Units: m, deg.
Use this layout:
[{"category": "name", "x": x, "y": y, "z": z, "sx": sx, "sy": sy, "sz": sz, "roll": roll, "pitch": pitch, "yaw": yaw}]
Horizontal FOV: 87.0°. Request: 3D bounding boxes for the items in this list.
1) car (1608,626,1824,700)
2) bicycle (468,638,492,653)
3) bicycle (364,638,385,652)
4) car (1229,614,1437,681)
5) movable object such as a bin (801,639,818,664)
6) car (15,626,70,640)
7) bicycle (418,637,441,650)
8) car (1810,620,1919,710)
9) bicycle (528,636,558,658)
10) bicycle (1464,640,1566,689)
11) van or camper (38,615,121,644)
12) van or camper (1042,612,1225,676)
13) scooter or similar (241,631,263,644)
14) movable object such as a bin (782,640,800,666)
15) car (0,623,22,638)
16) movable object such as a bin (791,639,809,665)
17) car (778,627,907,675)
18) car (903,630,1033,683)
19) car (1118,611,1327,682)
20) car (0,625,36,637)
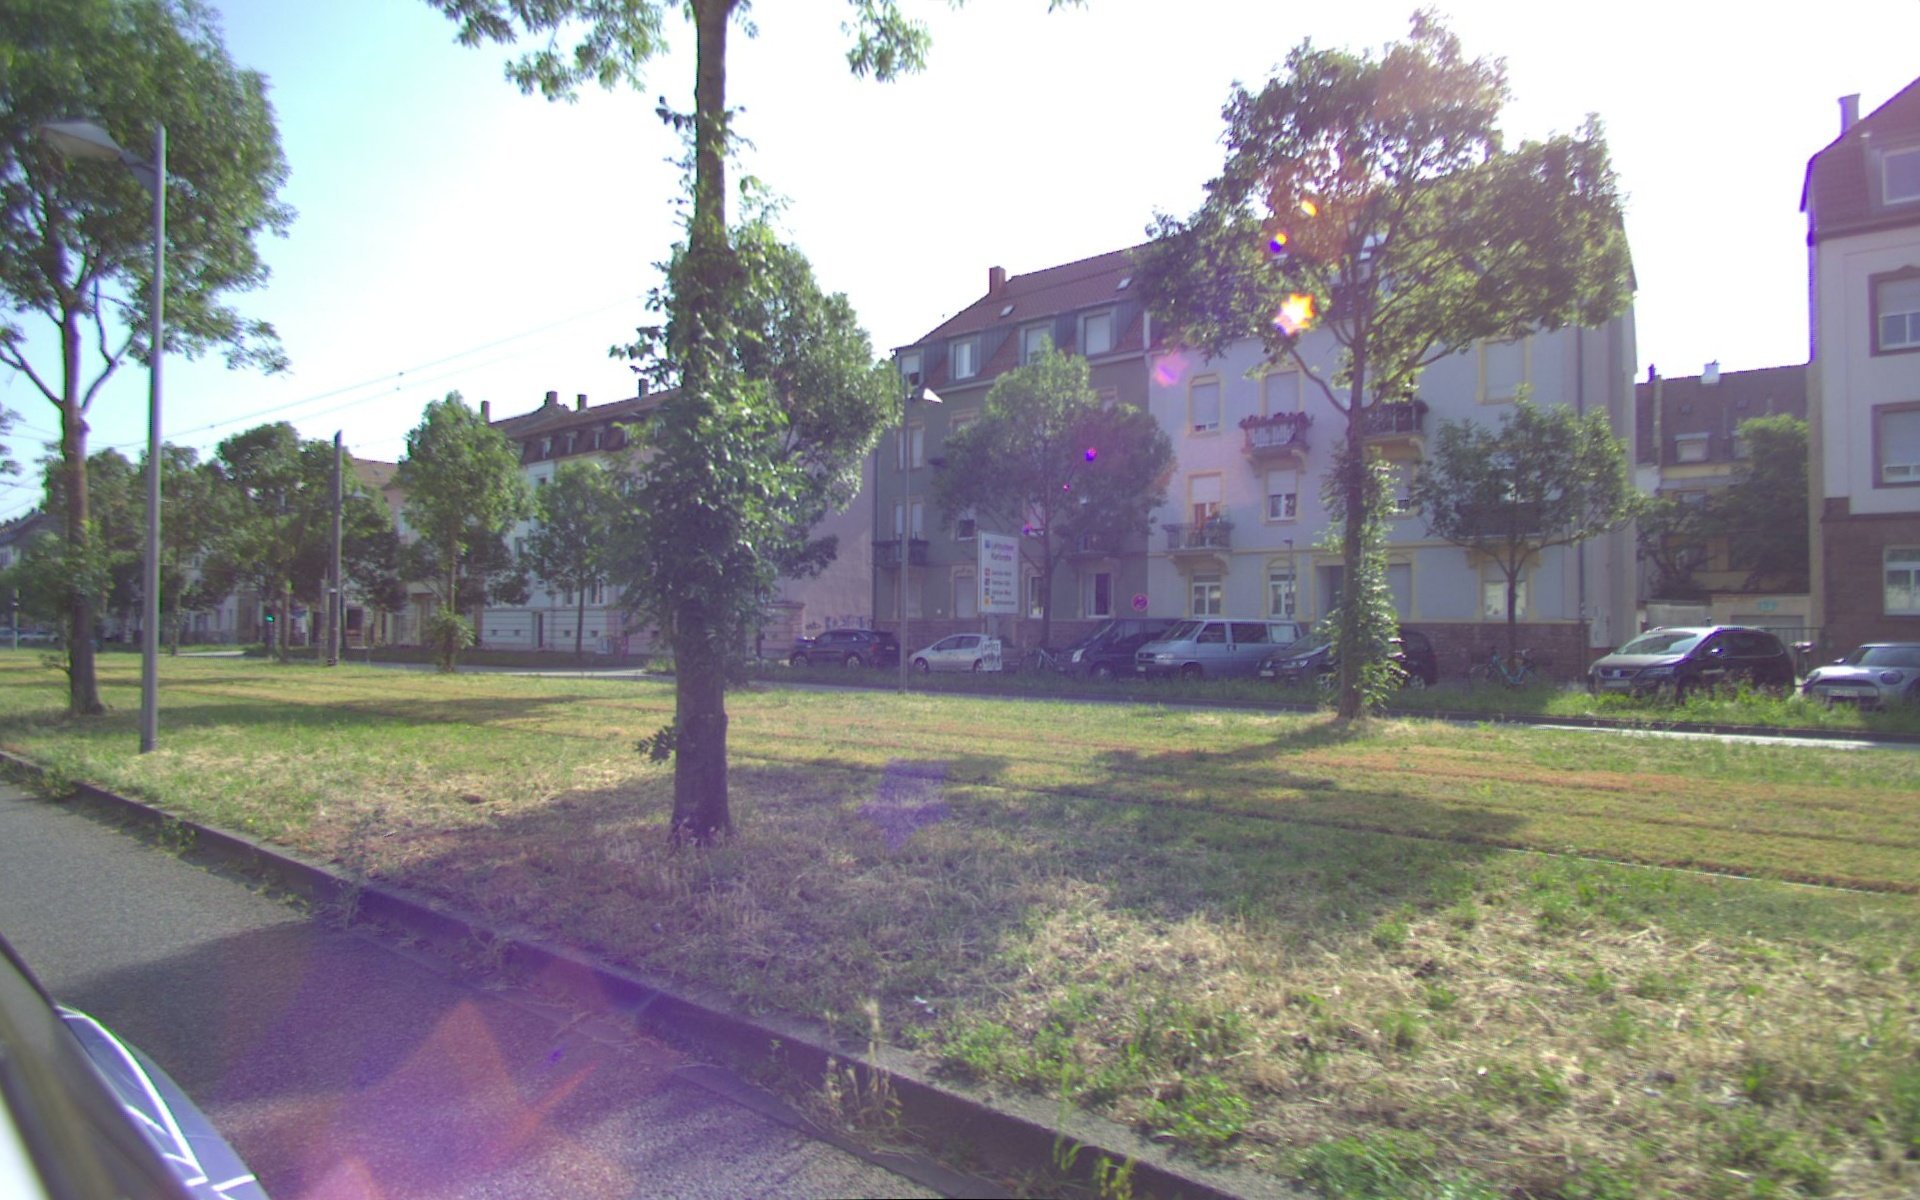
[{"category": "car", "x": 15.454, "y": 1.236, "z": 20.708, "sx": 3.931, "sy": 1.278, "sz": 1.644, "roll": -1, "pitch": 0, "yaw": -20}, {"category": "bicycle", "x": -28.761, "y": 2.721, "z": 60.634, "sx": 1.944, "sy": 0.863, "sz": 0.443, "roll": -1, "pitch": 0, "yaw": 36}, {"category": "bicycle", "x": -40.012, "y": 3.089, "z": 69.159, "sx": 1.944, "sy": 0.895, "sz": 0.463, "roll": -1, "pitch": 0, "yaw": 36}, {"category": "car", "x": 9.055, "y": 1.109, "z": 24.652, "sx": 4.401, "sy": 1.430, "sz": 1.981, "roll": -1, "pitch": 0, "yaw": -15}, {"category": "movable object such as a bin", "x": -7.632, "y": 2.622, "z": 51.392, "sx": 0.639, "sy": 1.220, "sz": 0.580, "roll": -1, "pitch": 0, "yaw": 36}, {"category": "car", "x": -97.538, "y": 3.482, "z": 107.619, "sx": 3.946, "sy": 1.326, "sz": 1.667, "roll": -1, "pitch": 0, "yaw": -18}, {"category": "bicycle", "x": -33.858, "y": 2.750, "z": 64.581, "sx": 1.944, "sy": 0.795, "sz": 0.433, "roll": -1, "pitch": 0, "yaw": 36}, {"category": "car", "x": 17.858, "y": 1.127, "z": 18.579, "sx": 3.931, "sy": 1.427, "sz": 1.582, "roll": -1, "pitch": 0, "yaw": -18}, {"category": "bicycle", "x": -23.196, "y": 2.587, "z": 56.235, "sx": 1.944, "sy": 1.136, "sz": 0.598, "roll": -1, "pitch": 0, "yaw": 36}, {"category": "bicycle", "x": 12.713, "y": 1.469, "z": 23.235, "sx": 1.990, "sy": 1.057, "sz": 0.463, "roll": -1, "pitch": 0, "yaw": 24}, {"category": "van or camper", "x": -86.911, "y": 2.893, "z": 99.996, "sx": 5.824, "sy": 2.593, "sz": 2.206, "roll": -1, "pitch": 0, "yaw": -18}, {"category": "van or camper", "x": 4.969, "y": 1.203, "z": 29.072, "sx": 4.766, "sy": 1.635, "sz": 2.009, "roll": -1, "pitch": 0, "yaw": -20}, {"category": "scooter or similar", "x": -59.058, "y": 3.151, "z": 84.378, "sx": 1.475, "sy": 1.077, "sz": 0.738, "roll": -1, "pitch": 0, "yaw": 16}, {"category": "movable object such as a bin", "x": -8.405, "y": 2.641, "z": 50.334, "sx": 0.639, "sy": 1.220, "sz": 0.580, "roll": -1, "pitch": 0, "yaw": 36}, {"category": "car", "x": -118.381, "y": 3.784, "z": 123.838, "sx": 4.867, "sy": 1.739, "sz": 1.863, "roll": -1, "pitch": 0, "yaw": -18}, {"category": "movable object such as a bin", "x": -8.032, "y": 2.604, "z": 50.848, "sx": 0.639, "sy": 1.220, "sz": 0.580, "roll": -1, "pitch": 0, "yaw": 36}, {"category": "car", "x": -4.476, "y": 1.874, "z": 38.298, "sx": 4.765, "sy": 1.641, "sz": 1.976, "roll": -1, "pitch": 0, "yaw": 36}, {"category": "car", "x": 0.250, "y": 1.872, "z": 34.520, "sx": 4.149, "sy": 1.641, "sz": 1.872, "roll": -1, "pitch": 0, "yaw": 37}, {"category": "car", "x": 6.957, "y": 1.158, "z": 26.844, "sx": 5.131, "sy": 1.635, "sz": 2.063, "roll": -1, "pitch": 0, "yaw": -22}, {"category": "car", "x": -108.092, "y": 3.533, "z": 115.481, "sx": 3.623, "sy": 1.251, "sz": 1.667, "roll": -1, "pitch": 0, "yaw": -18}]
